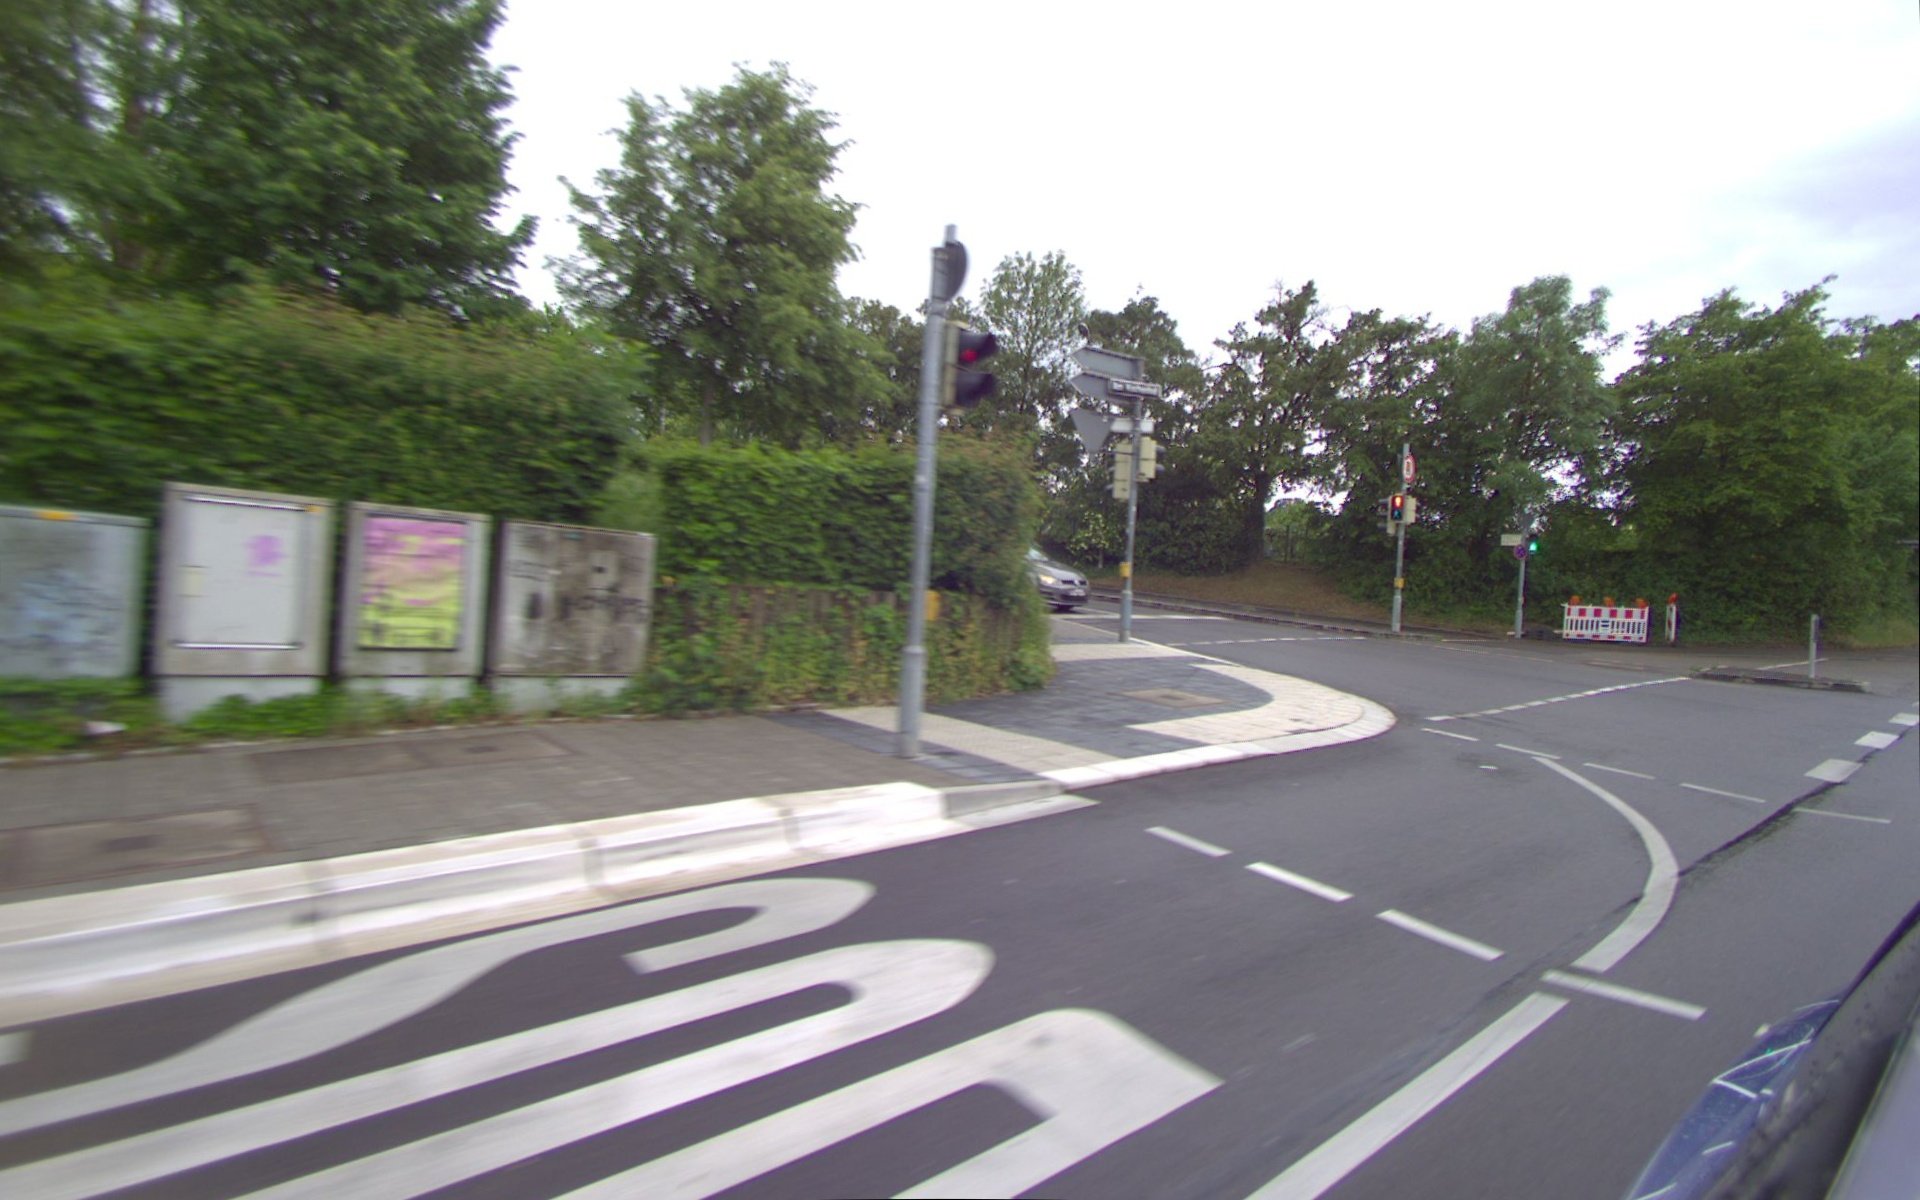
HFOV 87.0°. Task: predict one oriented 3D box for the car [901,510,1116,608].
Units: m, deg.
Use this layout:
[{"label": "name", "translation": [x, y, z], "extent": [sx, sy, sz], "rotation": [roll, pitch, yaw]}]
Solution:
[{"label": "car", "translation": [0.932, -0.895, 20.992], "extent": [4.076, 1.470, 1.862], "rotation": [11, 8, 41]}]
